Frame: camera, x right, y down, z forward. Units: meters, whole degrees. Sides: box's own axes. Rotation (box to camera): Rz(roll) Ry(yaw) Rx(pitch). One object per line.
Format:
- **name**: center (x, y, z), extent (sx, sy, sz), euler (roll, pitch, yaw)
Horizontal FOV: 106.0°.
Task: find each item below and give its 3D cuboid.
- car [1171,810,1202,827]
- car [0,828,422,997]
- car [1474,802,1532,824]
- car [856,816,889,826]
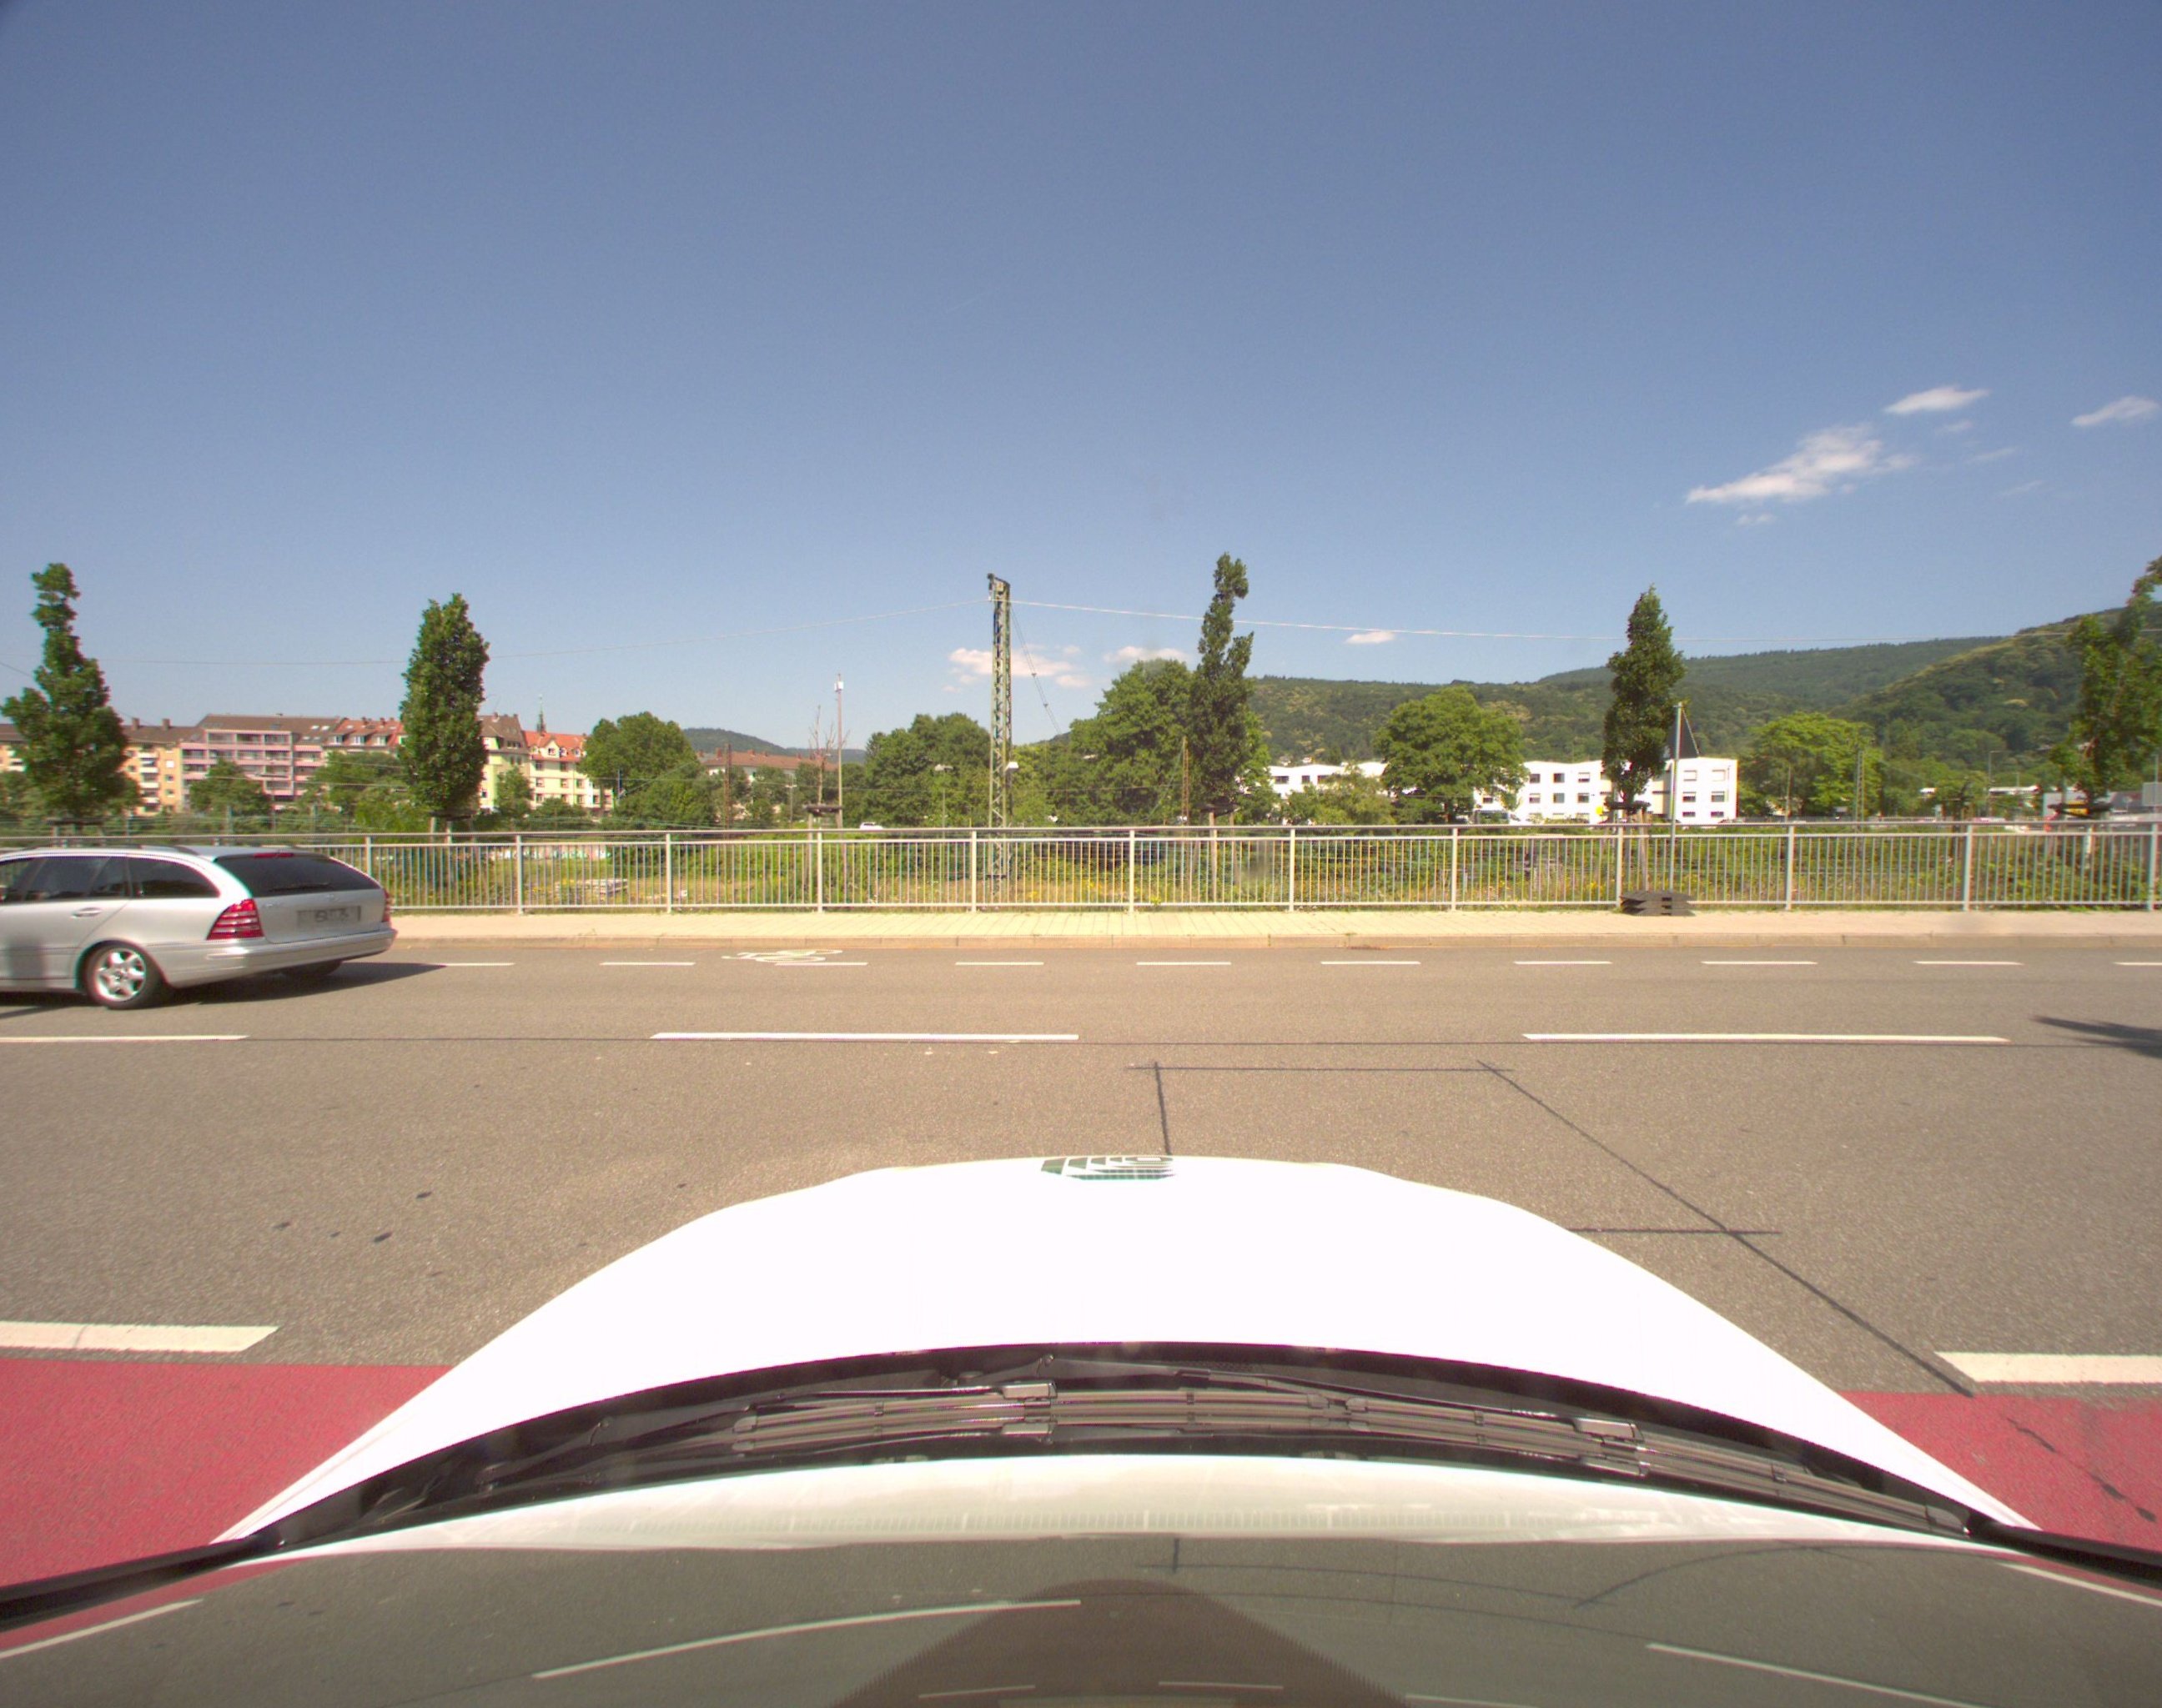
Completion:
- **car**: center (14.276, -4.805, 110.263), extent (3.888, 2.014, 1.764), euler (-1, -2, 19)
- **car**: center (-9.090, 0.477, 7.678), extent (4.355, 1.403, 1.715), euler (0, 1, 1)
- **car**: center (48.250, -4.666, 93.285), extent (5.463, 2.102, 2.142), euler (-1, -2, 13)
- **car**: center (-28.409, -4.547, 111.136), extent (4.261, 1.366, 1.878), euler (1, 3, 31)
